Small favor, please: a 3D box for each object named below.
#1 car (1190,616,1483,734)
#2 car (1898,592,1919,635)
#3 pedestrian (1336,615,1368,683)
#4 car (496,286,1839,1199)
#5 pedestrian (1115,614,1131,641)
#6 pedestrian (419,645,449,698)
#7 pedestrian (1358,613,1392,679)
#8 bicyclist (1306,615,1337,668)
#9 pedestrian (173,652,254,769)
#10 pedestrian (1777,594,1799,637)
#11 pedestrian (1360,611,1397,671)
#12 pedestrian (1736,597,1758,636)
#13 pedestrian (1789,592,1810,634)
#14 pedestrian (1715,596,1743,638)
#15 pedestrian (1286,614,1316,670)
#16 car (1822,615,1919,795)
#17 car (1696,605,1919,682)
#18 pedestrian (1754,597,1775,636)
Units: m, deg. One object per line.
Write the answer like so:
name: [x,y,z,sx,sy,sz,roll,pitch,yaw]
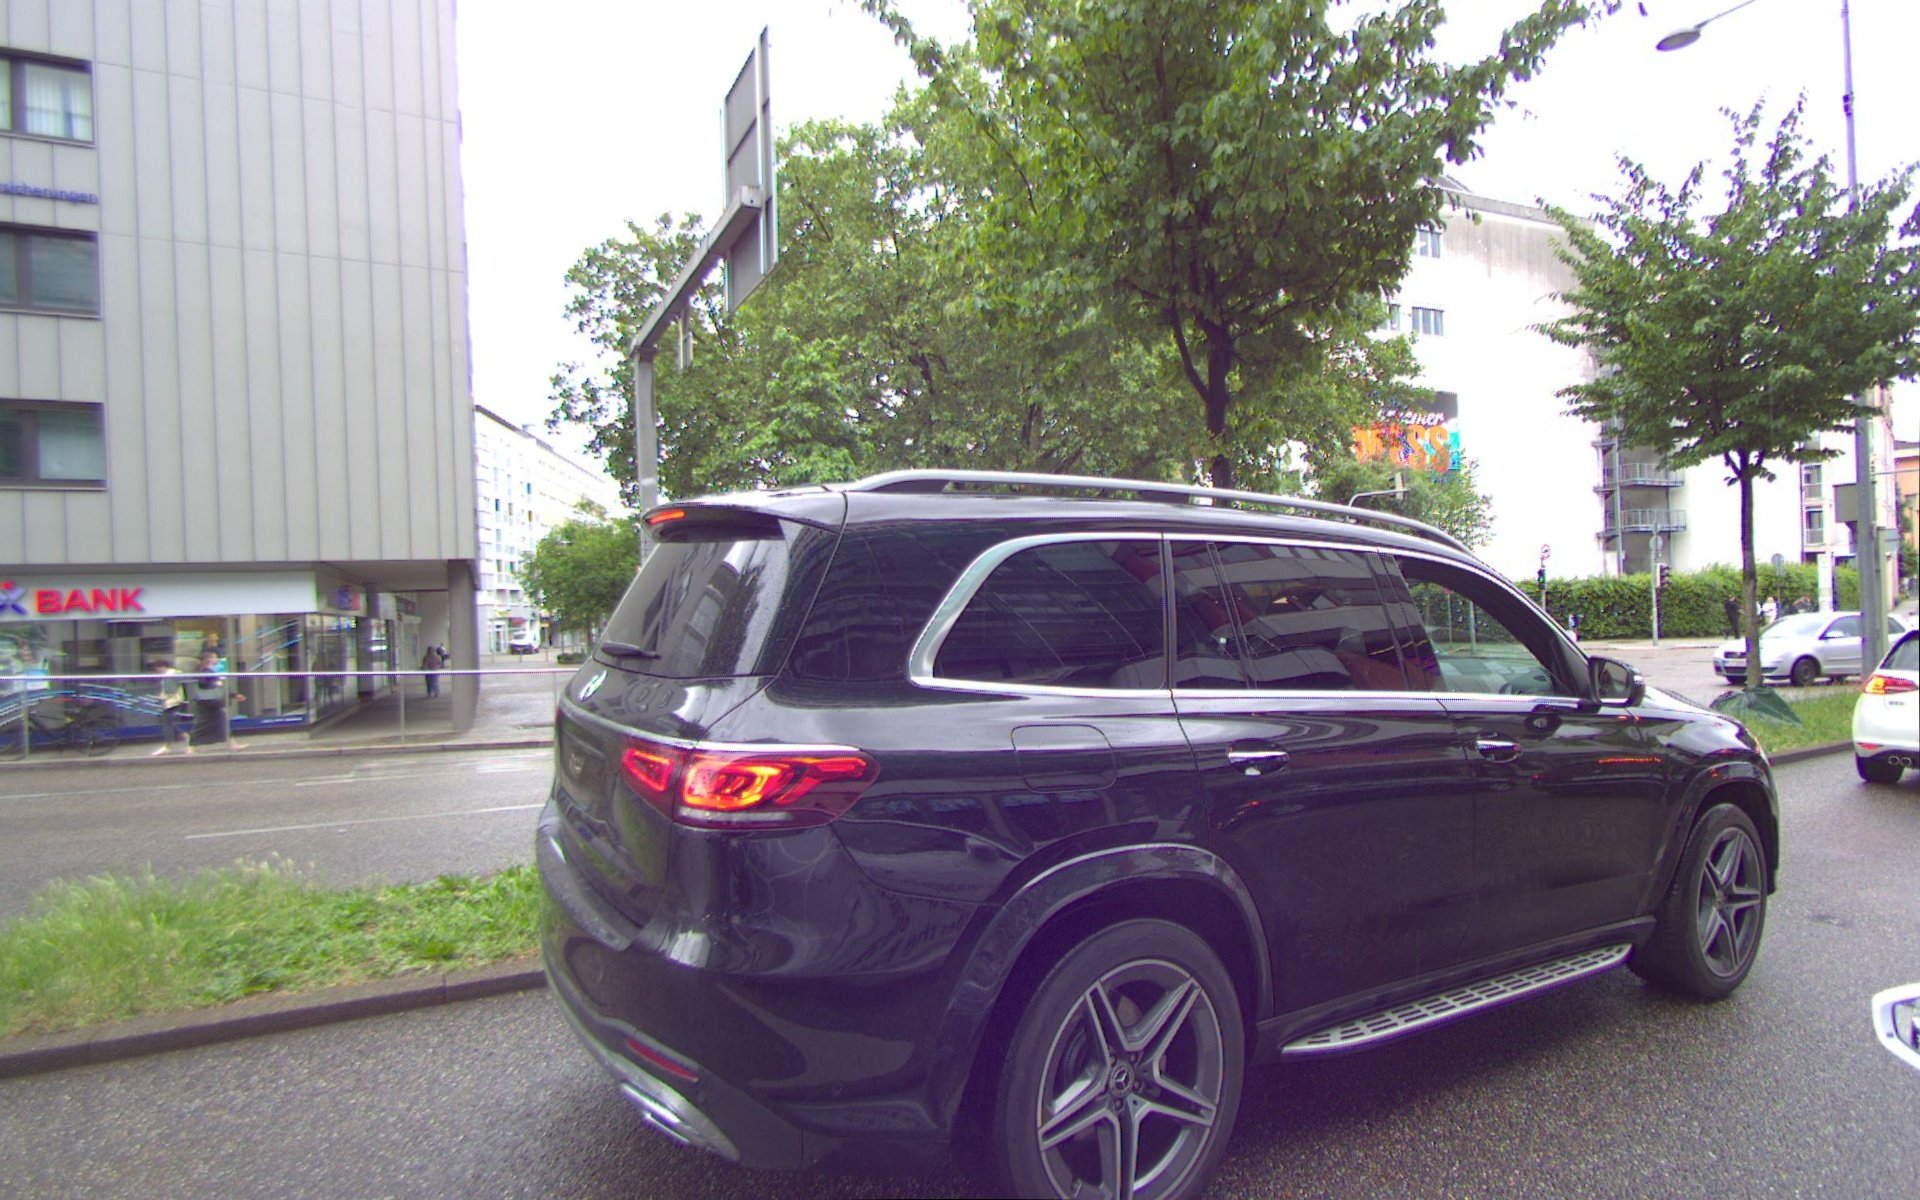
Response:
car: [5.882,1.077,15.512,4.683,1.505,1.625,-1,-3,-31]
car: [34.967,0.465,35.719,3.571,1.506,1.565,0,1,-33]
pedestrian: [9.919,1.236,25.448,0.568,1.684,0.559,-1,0,2]
car: [1.121,0.512,3.805,5.016,1.895,1.901,3,-1,-31]
pedestrian: [10.224,1.703,62.907,0.723,1.664,0.635,2,-1,-23]
pedestrian: [-17.711,2.394,33.819,0.719,1.719,0.782,2,-3,-37]
pedestrian: [10.900,1.206,26.385,0.572,1.684,0.554,-2,0,-30]
bicyclist: [10.791,1.246,30.017,0.602,1.550,0.629,2,-3,-30]
pedestrian: [-11.084,1.620,14.947,0.779,1.659,0.632,2,-1,-22]
pedestrian: [34.760,0.665,42.164,0.741,1.771,0.535,2,-1,-38]
pedestrian: [12.019,1.177,28.850,0.620,1.684,0.749,-2,0,-30]
pedestrian: [33.144,0.700,42.293,0.522,1.620,0.576,2,-1,-36]
pedestrian: [36.049,0.568,43.115,0.559,1.771,0.535,2,-1,-35]
pedestrian: [31.276,0.681,40.869,0.724,1.664,0.635,2,-1,-27]
pedestrian: [10.666,1.306,31.398,0.572,1.689,0.636,-2,0,-30]
car: [9.519,0.871,8.951,3.800,1.448,1.768,0,0,-32]
car: [17.580,0.943,20.857,3.687,1.487,1.635,1,-4,-12]
pedestrian: [34.166,0.713,42.653,0.522,1.620,0.576,2,-1,-36]
